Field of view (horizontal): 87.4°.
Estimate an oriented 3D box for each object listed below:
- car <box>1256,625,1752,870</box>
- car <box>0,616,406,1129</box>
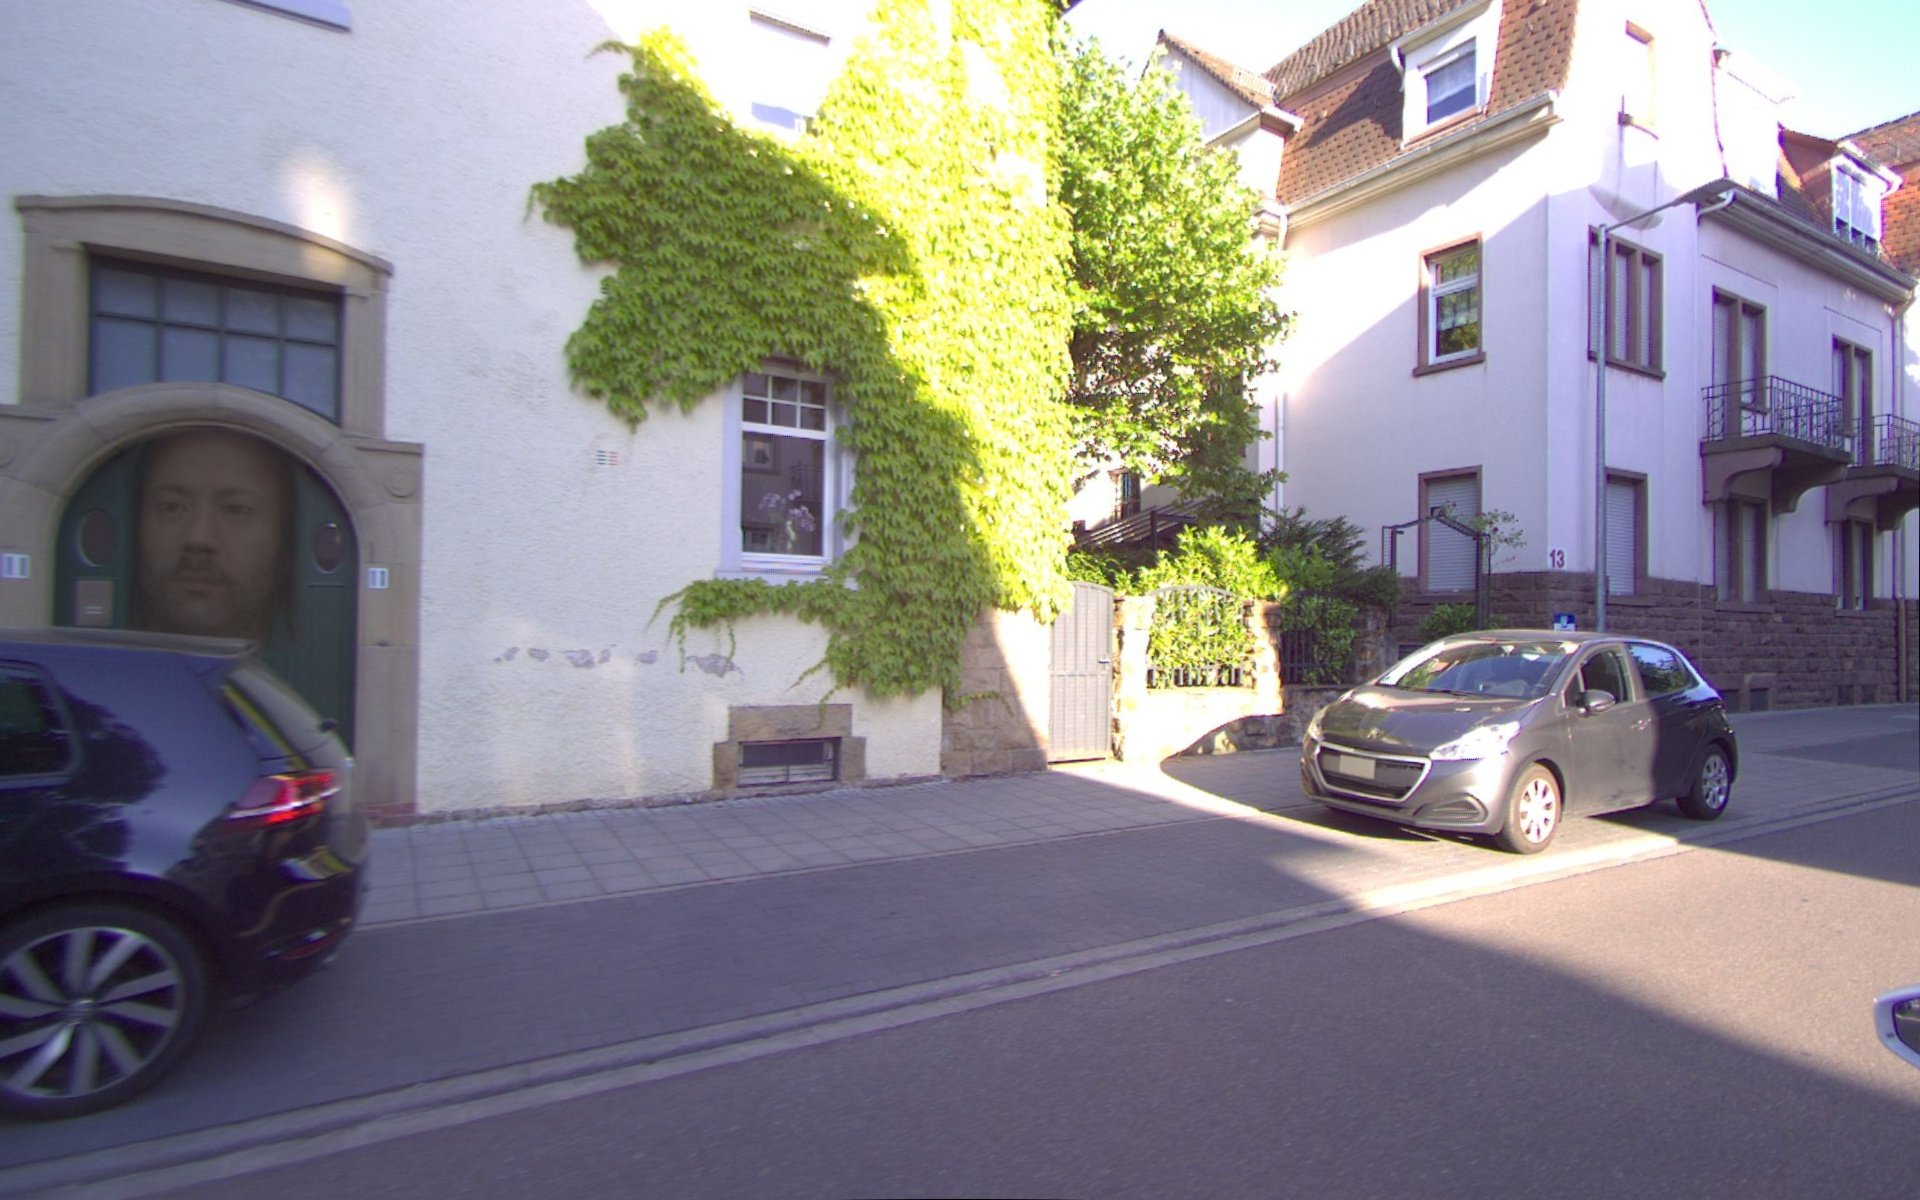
[{"bbox_3d":[4.365,0.976,7.918,3.958,1.466,1.645,2,-1,-31],"label":"car"},{"bbox_3d":[-4.061,0.769,3.019,4.121,1.434,1.645,2,-1,-32],"label":"car"}]
